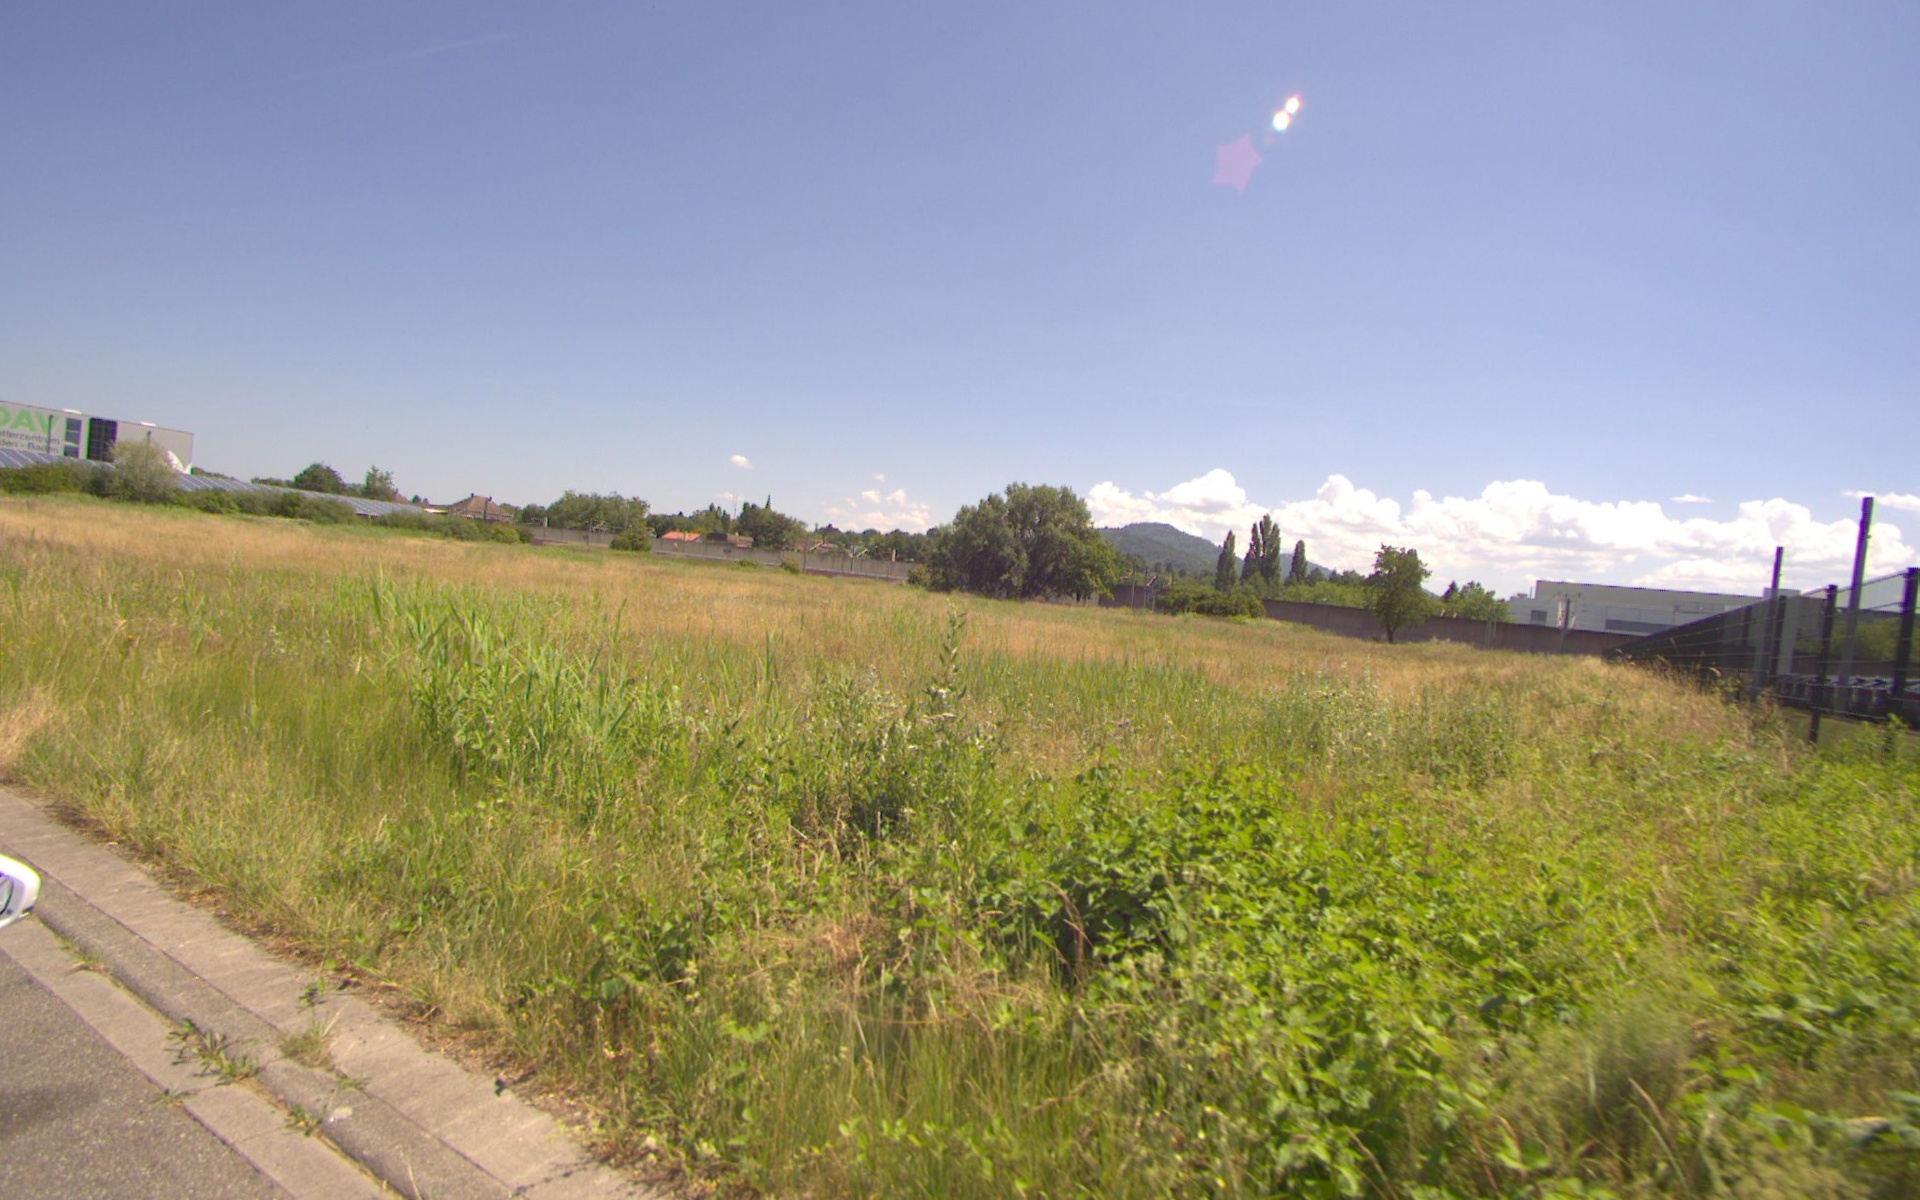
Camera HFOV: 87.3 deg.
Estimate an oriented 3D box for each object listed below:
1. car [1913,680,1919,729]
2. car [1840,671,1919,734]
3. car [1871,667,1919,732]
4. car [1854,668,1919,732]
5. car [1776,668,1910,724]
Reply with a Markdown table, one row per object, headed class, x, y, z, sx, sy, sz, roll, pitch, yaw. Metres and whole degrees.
| class | x | y | z | sx | sy | sz | roll | pitch | yaw |
| --- | --- | --- | --- | --- | --- | --- | --- | --- | --- |
| car | 26.998 | 2.730 | 24.713 | 4.731 | 1.748 | 2.024 | 7 | 2 | 33 |
| car | 32.207 | 3.548 | 33.462 | 3.934 | 1.808 | 1.995 | 7 | 1 | 32 |
| car | 29.483 | 3.103 | 29.264 | 3.934 | 1.808 | 1.995 | 7 | 1 | 32 |
| car | 30.724 | 3.265 | 31.250 | 3.934 | 1.808 | 1.995 | 7 | 1 | 32 |
| car | 38.164 | 4.113 | 43.623 | 3.934 | 1.808 | 1.995 | 7 | 1 | 32 |
